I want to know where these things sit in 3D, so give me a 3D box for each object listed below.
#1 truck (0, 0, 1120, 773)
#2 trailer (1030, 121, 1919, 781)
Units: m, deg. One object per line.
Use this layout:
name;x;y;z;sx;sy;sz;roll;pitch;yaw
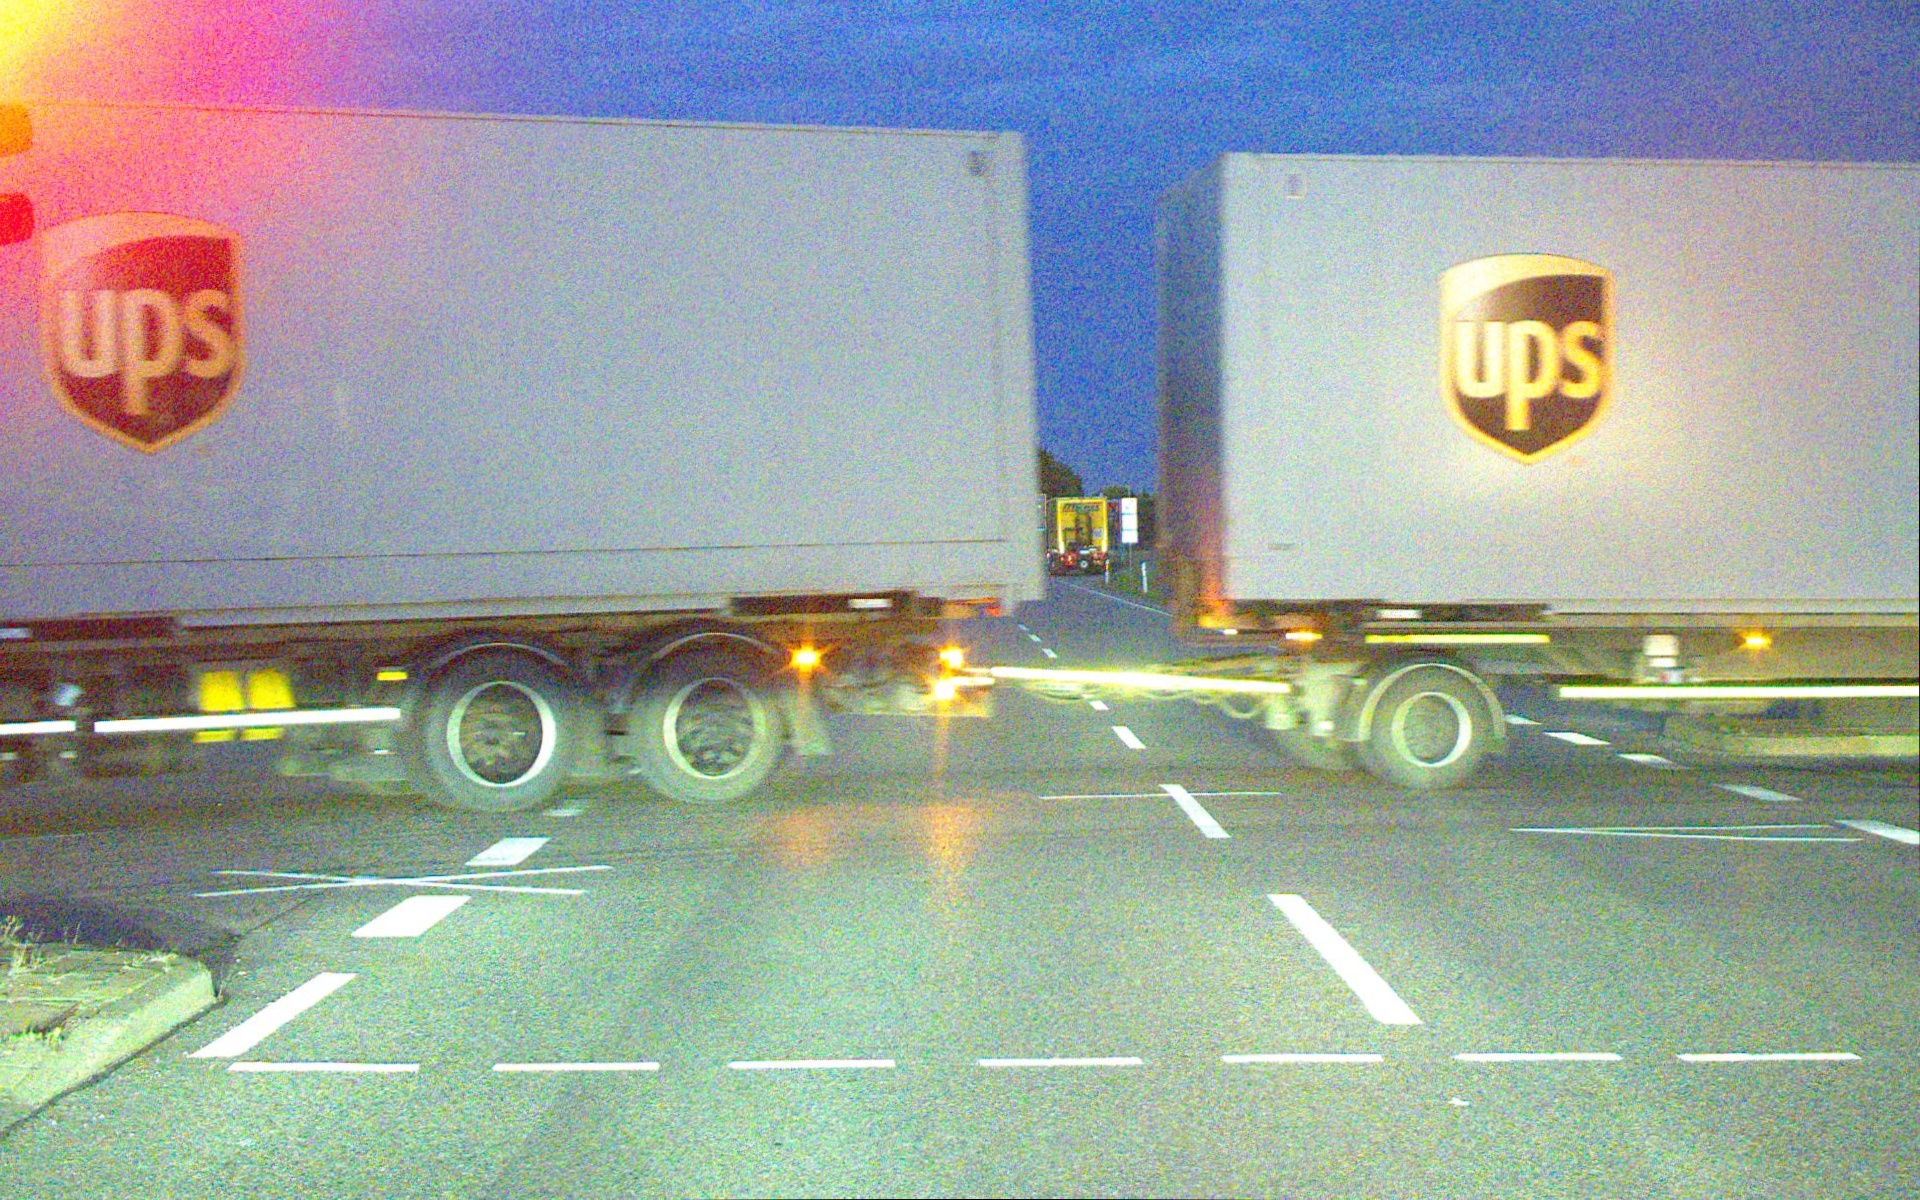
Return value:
truck;-4.261;-1.167;20.020;10.310;4.103;2.735;-1;1;-26
trailer;5.090;-1.028;22.746;8.846;3.929;2.586;-2;1;-7
